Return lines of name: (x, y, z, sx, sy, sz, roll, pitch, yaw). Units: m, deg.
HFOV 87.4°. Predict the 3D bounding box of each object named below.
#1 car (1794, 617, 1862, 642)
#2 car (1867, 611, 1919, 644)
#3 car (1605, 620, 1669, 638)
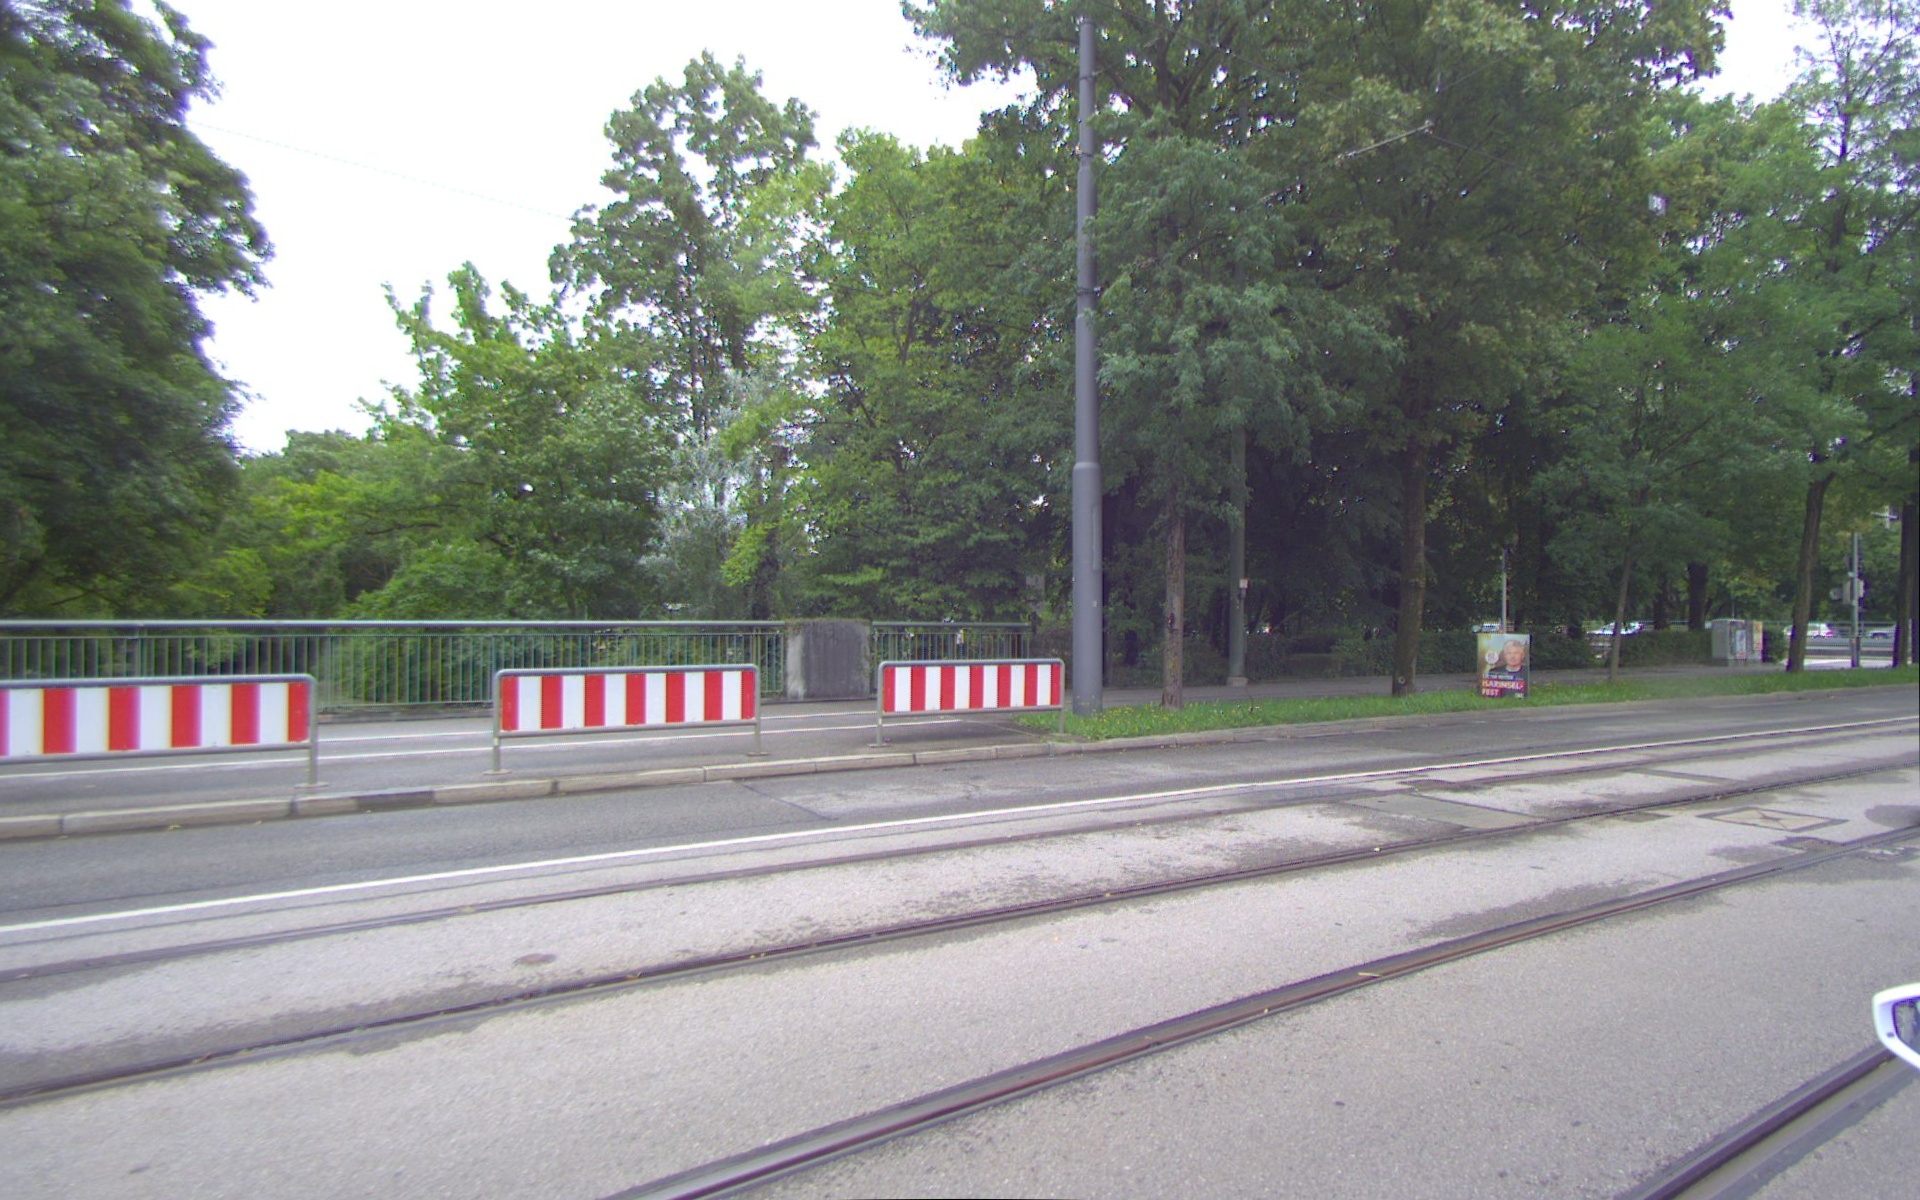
car: (55.456, 1.865, 64.210, 1.237, 1.471, 3.091, 1, 0, -33)
car: (57.697, 1.686, 60.728, 1.475, 1.912, 3.996, 1, 0, -35)
car: (49.670, 2.127, 73.770, 1.237, 1.201, 3.706, 1, 0, -33)
